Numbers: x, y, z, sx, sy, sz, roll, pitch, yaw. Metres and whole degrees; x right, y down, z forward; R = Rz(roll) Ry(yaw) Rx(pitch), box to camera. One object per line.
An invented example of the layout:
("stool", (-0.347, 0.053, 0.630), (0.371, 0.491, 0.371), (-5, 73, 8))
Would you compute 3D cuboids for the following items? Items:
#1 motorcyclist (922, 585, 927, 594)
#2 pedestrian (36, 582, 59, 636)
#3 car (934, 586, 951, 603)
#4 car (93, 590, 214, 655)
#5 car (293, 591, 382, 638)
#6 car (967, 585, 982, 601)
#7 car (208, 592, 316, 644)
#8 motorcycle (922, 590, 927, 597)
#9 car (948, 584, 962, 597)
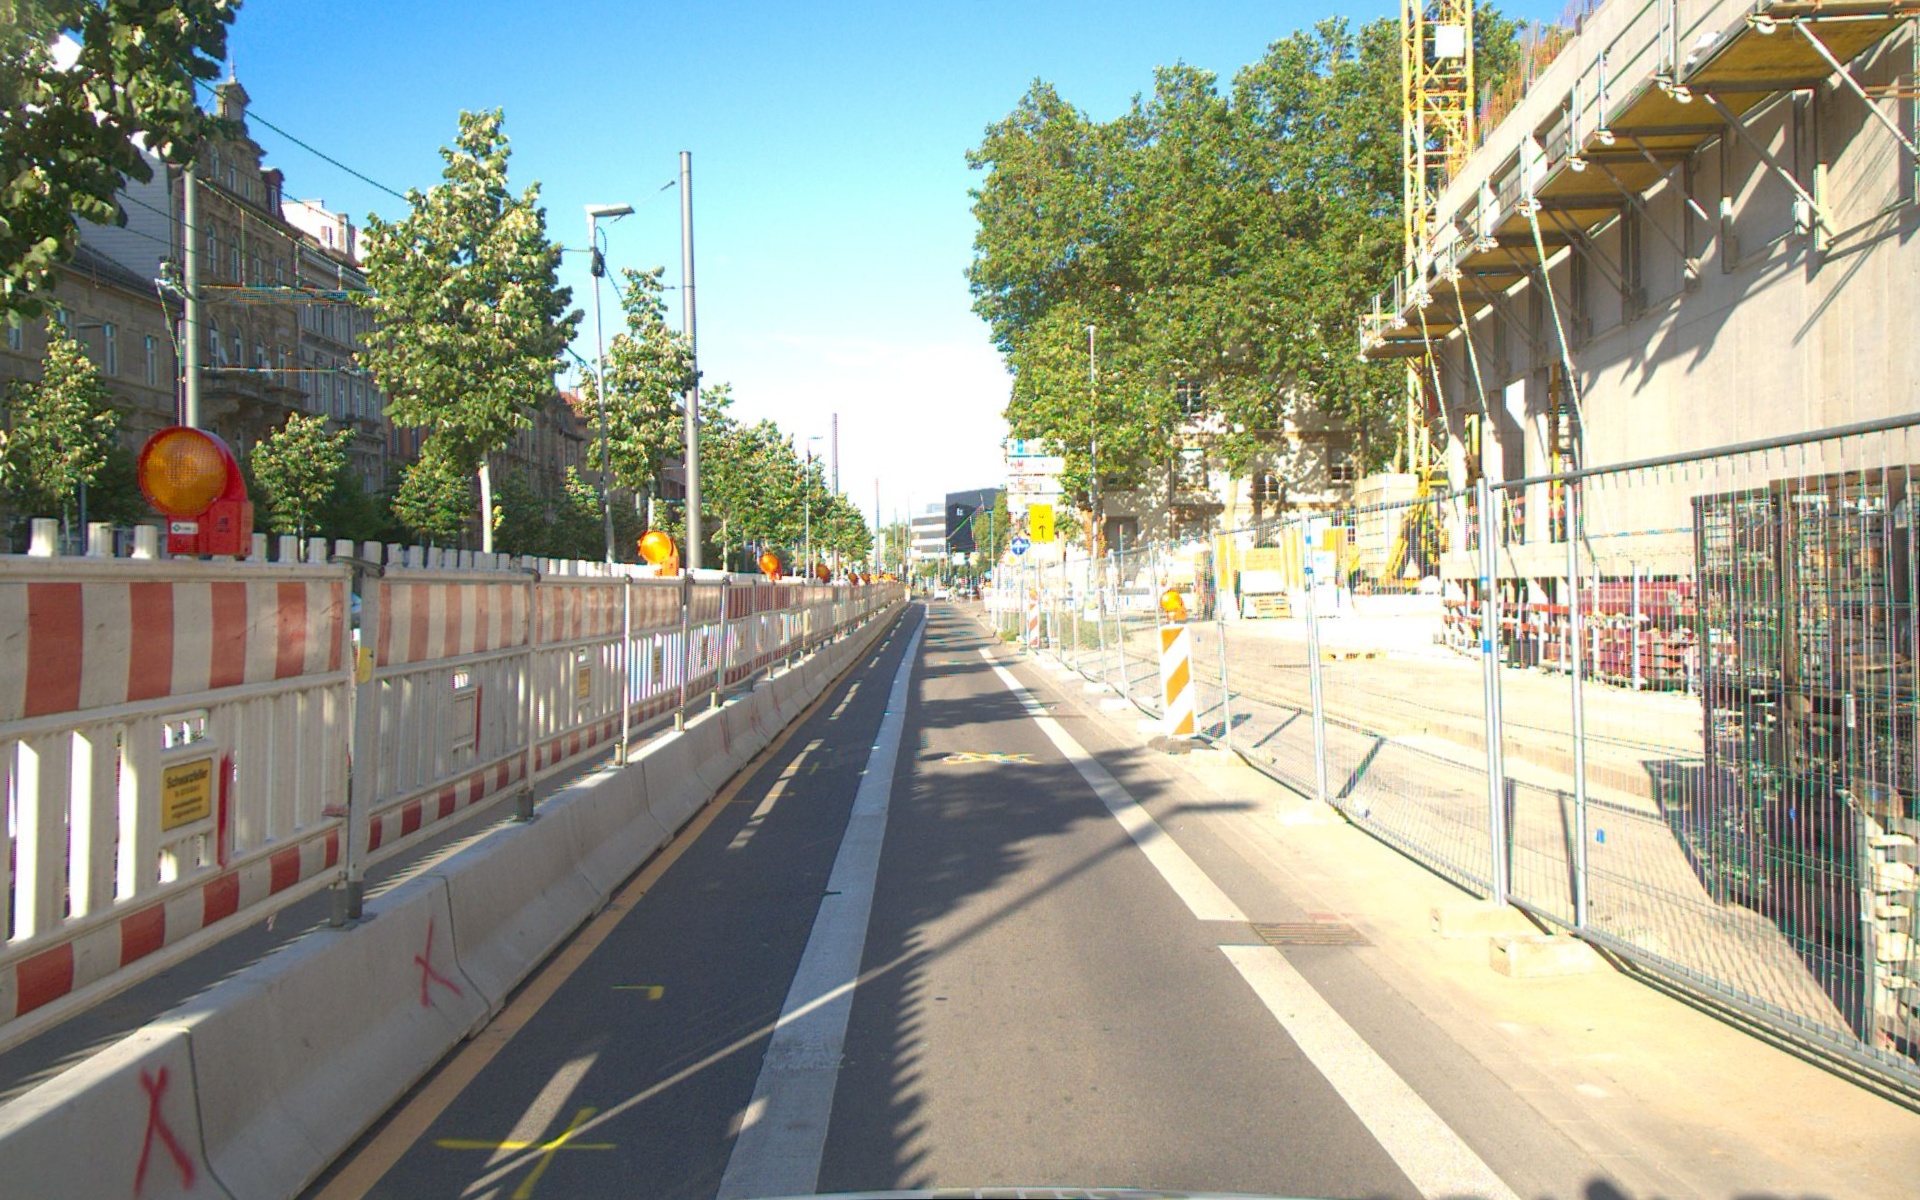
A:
("motorcyclist", (-5.015, -1.479, 233.849), (0.618, 1.285, 0.605), (-1, 0, -1))
("pedestrian", (-27.592, 0.261, 50.012), (0.452, 1.612, 0.434), (1, 0, -8))
("car", (-2.028, -0.664, 187.725), (1.845, 1.875, 3.667), (-1, 1, -1))
("car", (-22.603, 0.588, 46.498), (1.534, 1.704, 3.808), (-1, 1, -1))
("car", (-22.622, 0.506, 60.307), (1.534, 1.590, 4.713), (-1, 1, -1))
("car", (1.821, -0.866, 206.840), (1.845, 1.875, 3.667), (-1, 1, -1))
("car", (-22.615, 0.547, 53.761), (1.534, 1.590, 4.714), (-1, 1, -1))
("motorcycle", (-5.002, -0.956, 233.820), (0.618, 0.912, 1.620), (-1, 0, -1))
("car", (-0.724, -1.366, 239.147), (1.845, 1.875, 3.667), (-1, 1, -1))
